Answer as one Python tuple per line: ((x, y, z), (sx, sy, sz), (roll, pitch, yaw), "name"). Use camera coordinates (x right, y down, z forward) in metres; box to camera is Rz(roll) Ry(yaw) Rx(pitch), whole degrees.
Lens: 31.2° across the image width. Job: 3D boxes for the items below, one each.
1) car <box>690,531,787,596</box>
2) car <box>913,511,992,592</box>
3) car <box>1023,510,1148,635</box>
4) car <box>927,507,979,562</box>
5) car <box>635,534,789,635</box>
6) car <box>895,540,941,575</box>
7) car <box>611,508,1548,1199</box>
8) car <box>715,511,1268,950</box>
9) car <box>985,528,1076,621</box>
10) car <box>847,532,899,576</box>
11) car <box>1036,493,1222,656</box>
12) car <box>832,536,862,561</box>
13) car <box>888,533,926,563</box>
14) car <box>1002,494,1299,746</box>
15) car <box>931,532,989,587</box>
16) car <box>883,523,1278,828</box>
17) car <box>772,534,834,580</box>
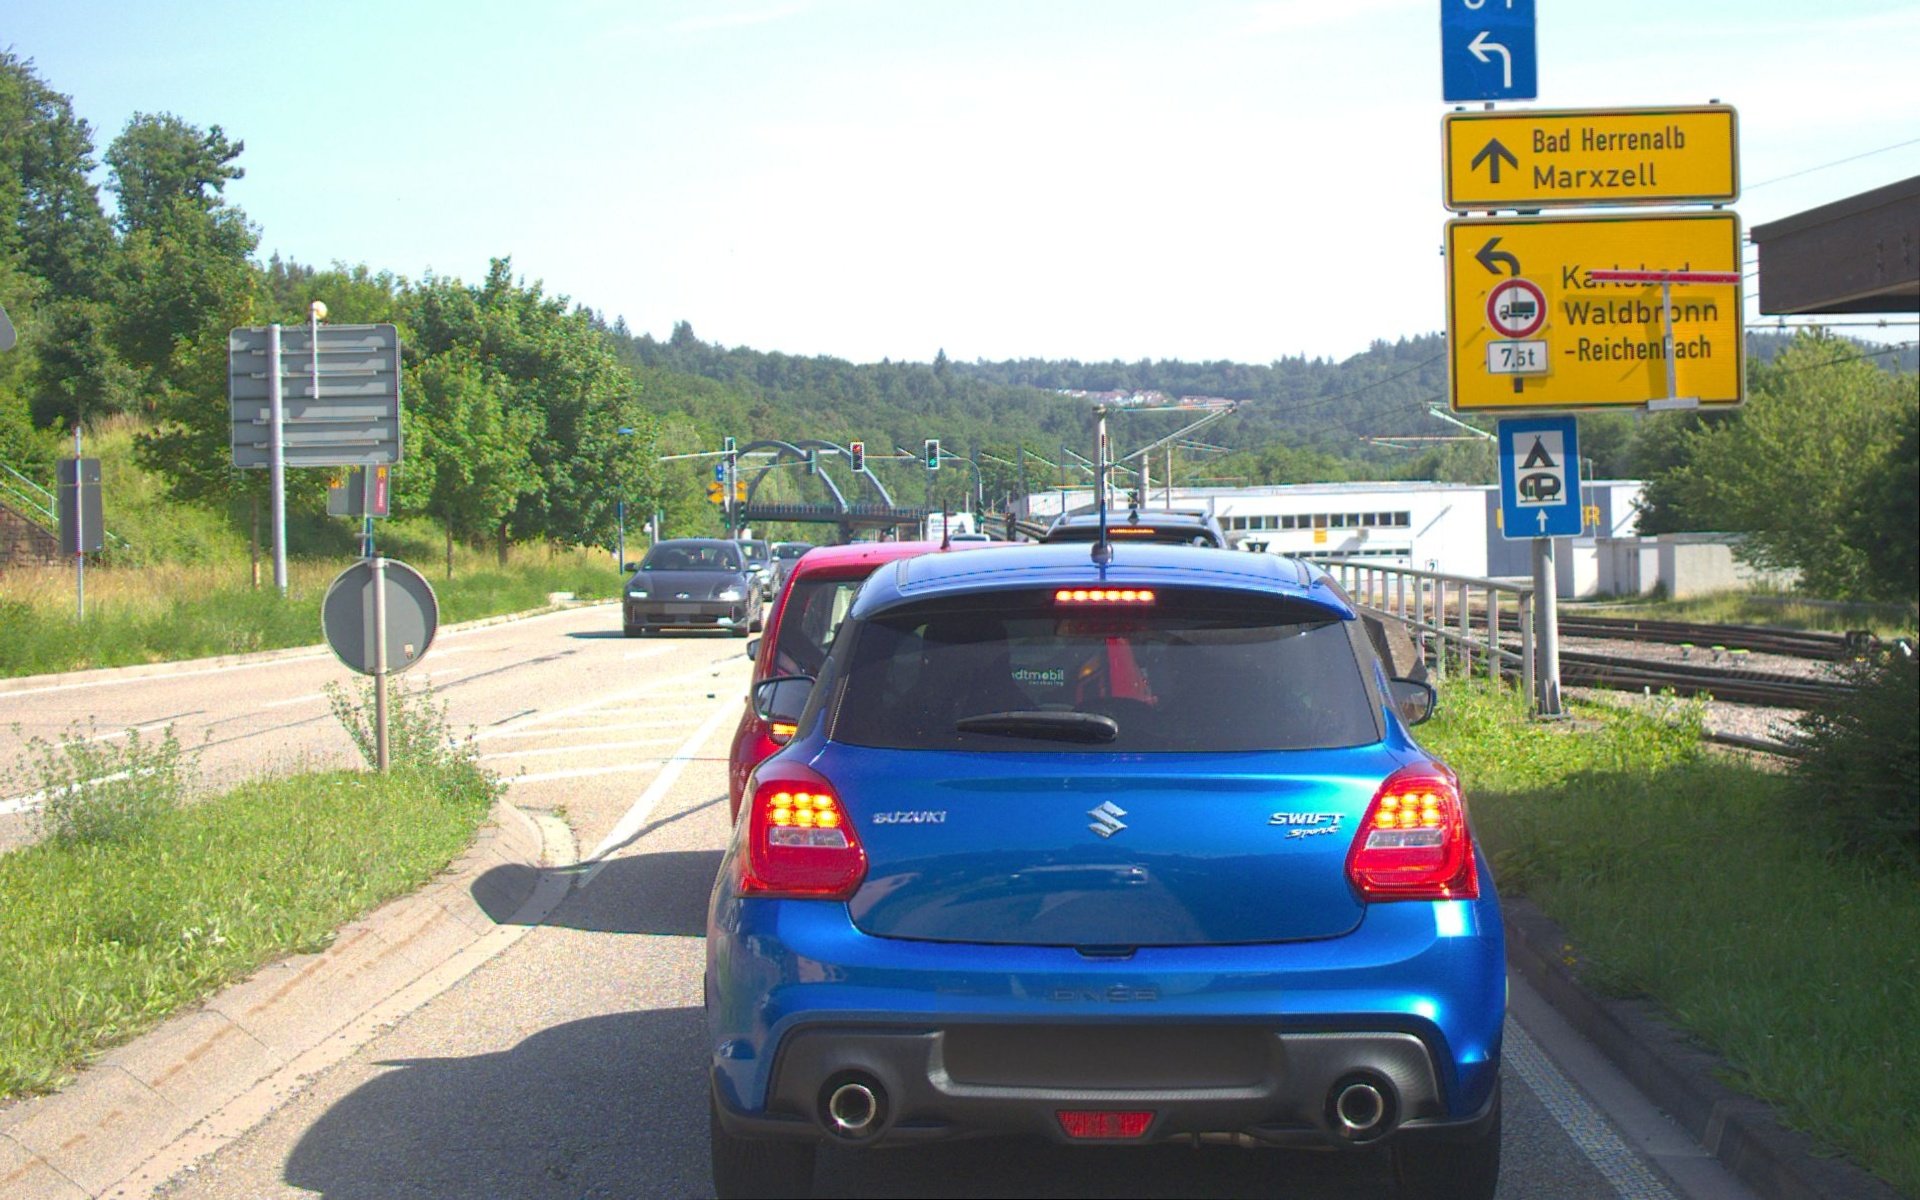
((-5.559, -0.942, 86.802), (1.993, 1.558, 4.509), (0, 1, 2), "car")
((-0.195, -1.322, 91.854), (1.993, 2.006, 4.001), (2, 2, 0), "car")
((2.157, -0.521, 60.239), (1.993, 2.006, 4.001), (2, 2, 0), "car")
((-0.277, -2.608, 137.405), (1.993, 2.137, 4.720), (1, 1, 0), "car")
((-3.769, -0.270, 52.938), (1.791, 1.465, 4.716), (0, 1, 3), "car")
((-1.904, -1.970, 157.500), (1.993, 1.549, 4.215), (1, 1, 0), "car")
((0.219, 0.547, 8.877), (1.868, 1.543, 4.000), (0, 1, -1), "car")
((0.171, 0.444, 14.547), (1.993, 1.566, 4.000), (1, 1, 2), "car")
((1.616, -0.627, 80.253), (1.993, 2.006, 4.001), (2, 2, 0), "car")
((-3.576, -1.917, 142.096), (1.993, 1.777, 4.000), (1, 1, 0), "car")
((1.919, -0.325, 39.765), (1.993, 1.730, 4.000), (2, 1, 2), "car")
((-7.860, -3.574, 239.070), (1.993, 1.659, 4.000), (1, 1, -1), "car")
((-2.875, -2.843, 186.148), (1.993, 1.585, 4.000), (1, 1, 0), "car")
((1.378, 0.086, 25.882), (1.993, 1.681, 4.497), (2, 1, 2), "car")
((-0.011, -1.462, 122.860), (1.993, 1.810, 4.001), (2, 2, 0), "car")
((0.681, 0.335, 19.808), (1.993, 1.526, 4.602), (-1, 1, 2), "car")
((-4.984, -1.374, 109.307), (1.672, 1.436, 3.840), (0, 1, 2), "car")
